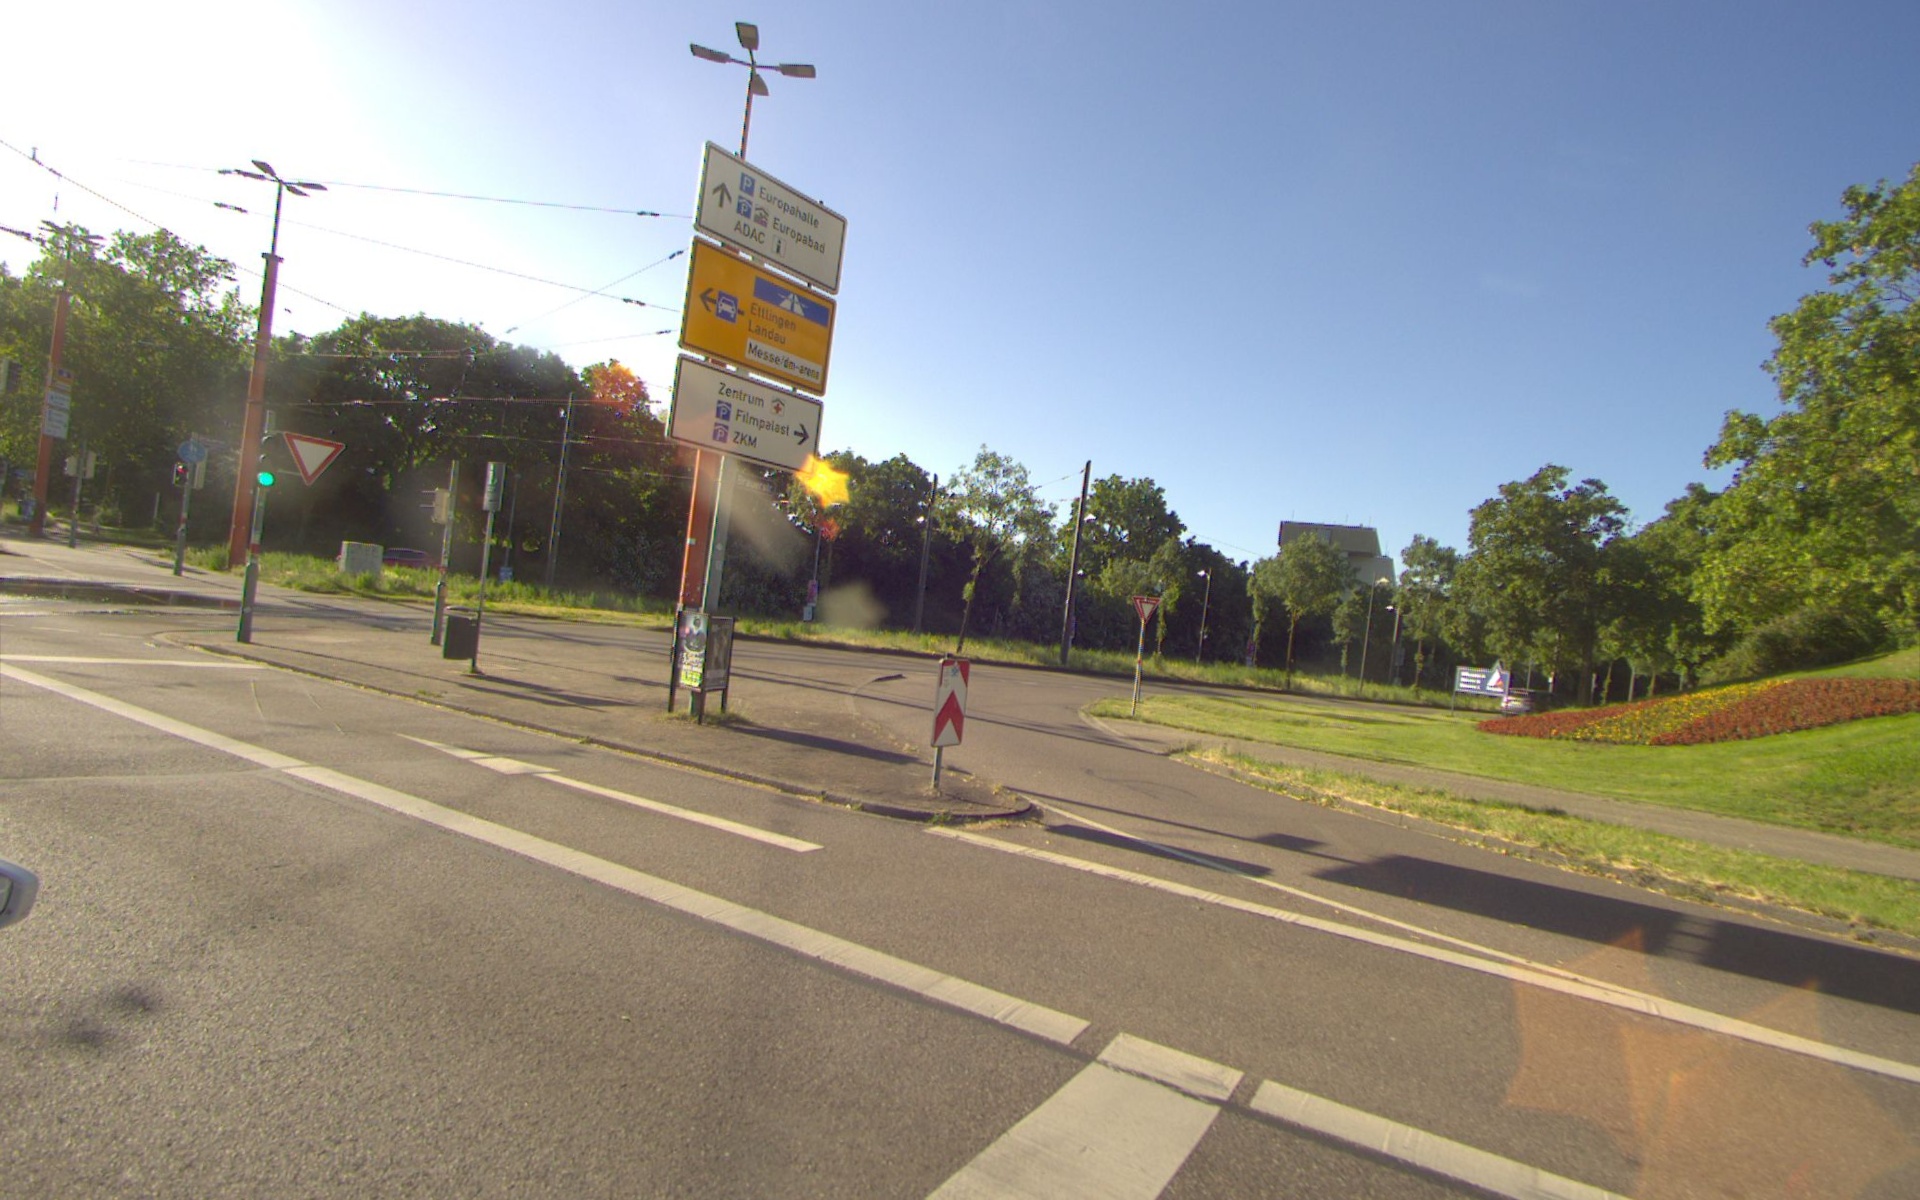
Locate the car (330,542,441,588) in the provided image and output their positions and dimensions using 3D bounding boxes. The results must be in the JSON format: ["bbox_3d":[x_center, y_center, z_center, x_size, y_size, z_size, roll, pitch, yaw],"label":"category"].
[{"bbox_3d":[-26.465,-1.606,46.348,4.248,1.513,1.983,8,-1,-33],"label":"car"}]

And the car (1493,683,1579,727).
[{"bbox_3d":[29.526,5.396,51.543,4.653,1.724,1.981,8,-2,-36],"label":"car"}]
